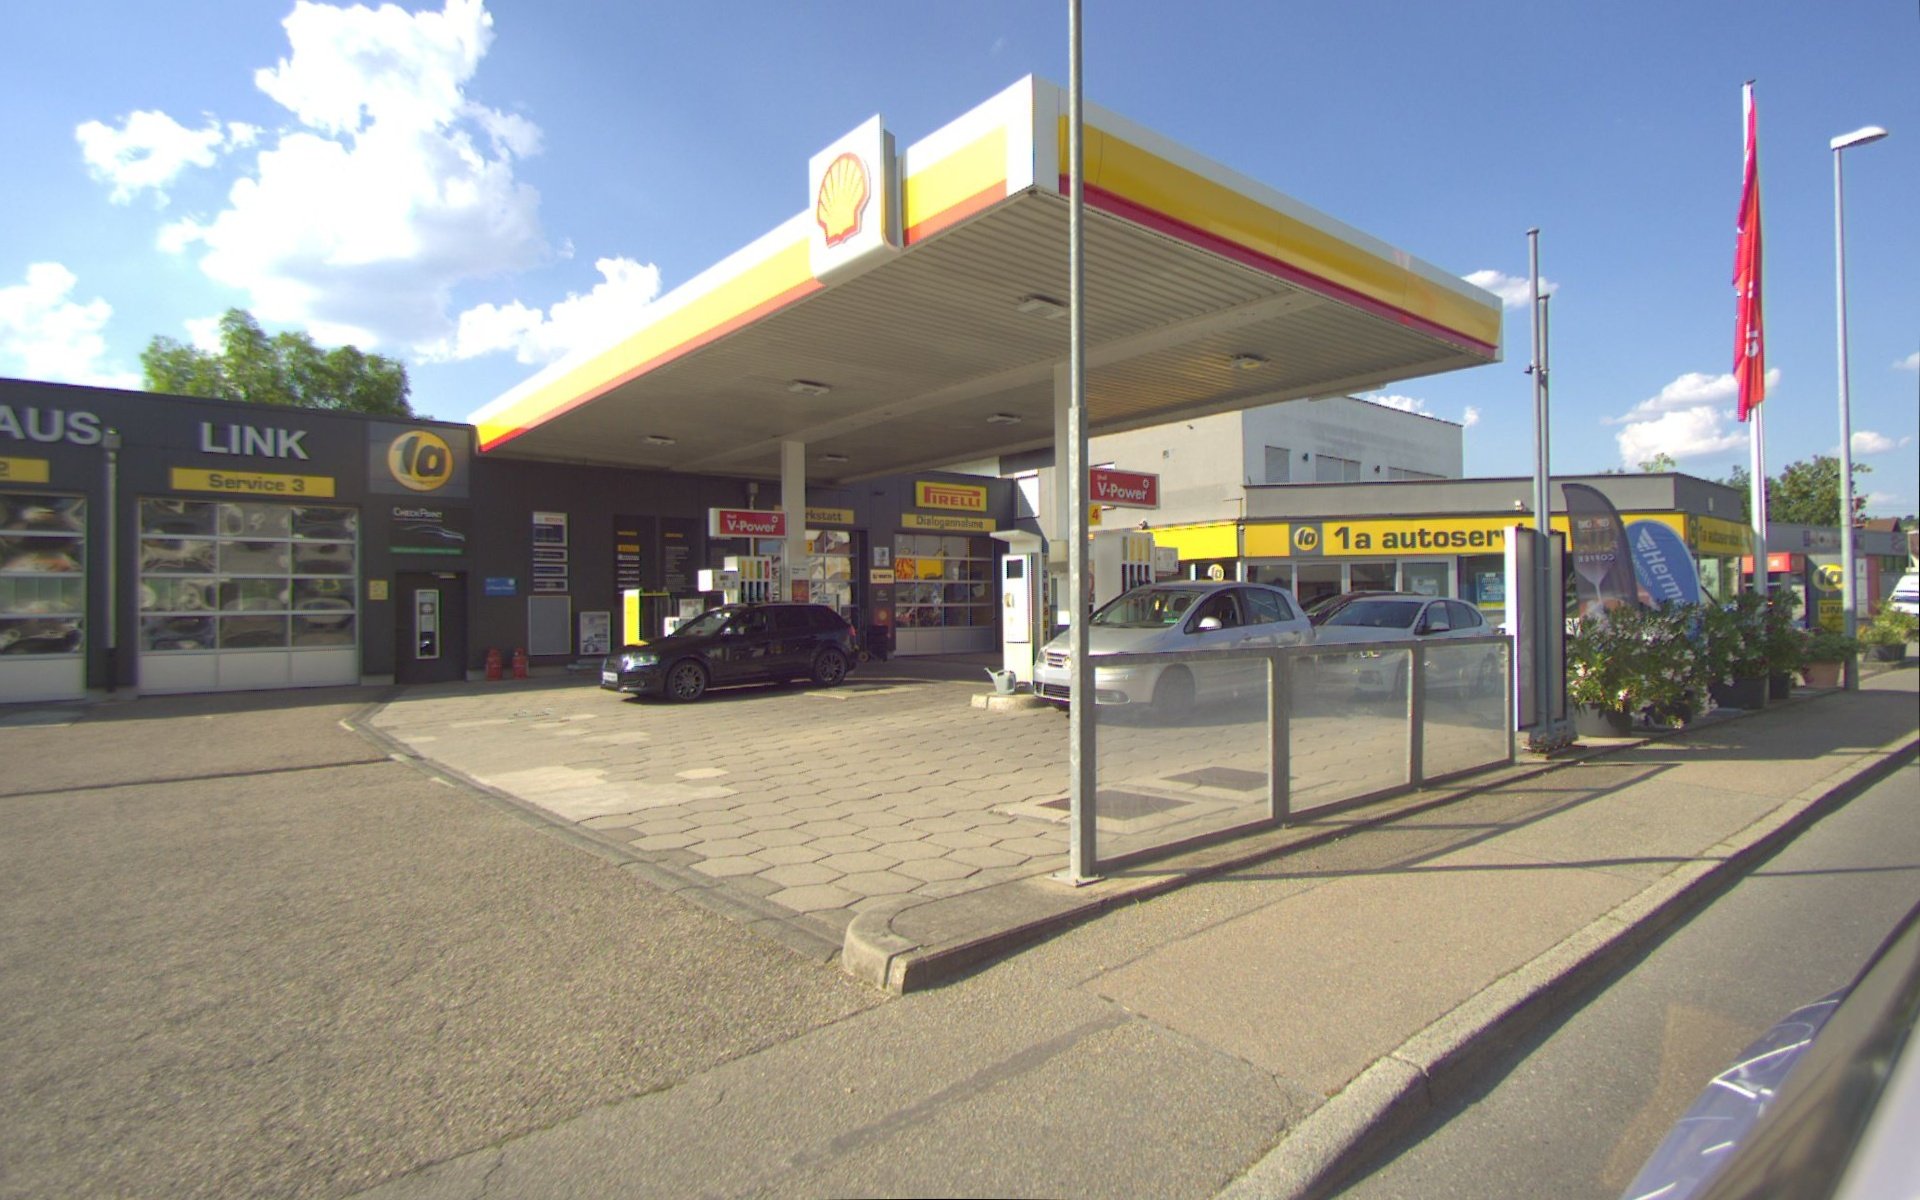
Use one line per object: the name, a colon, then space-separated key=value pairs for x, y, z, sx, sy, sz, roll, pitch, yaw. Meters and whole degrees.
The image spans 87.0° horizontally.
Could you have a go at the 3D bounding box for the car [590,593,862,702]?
car: x=-3.630 y=0.657 z=16.093 sx=3.928 sy=1.418 sz=1.540 roll=-2 pitch=1 yaw=-40

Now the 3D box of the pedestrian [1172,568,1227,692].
pedestrian: x=3.338 y=0.408 z=14.118 sx=0.525 sy=1.691 sz=0.501 roll=0 pitch=-1 yaw=-39

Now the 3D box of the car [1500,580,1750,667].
car: x=13.884 y=0.448 z=21.346 sx=4.010 sy=1.695 sz=1.673 roll=1 pitch=1 yaw=9

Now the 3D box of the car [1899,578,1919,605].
car: x=60.164 y=-0.554 z=61.797 sx=1.652 sy=1.623 sz=3.948 roll=-2 pitch=1 yaw=-38

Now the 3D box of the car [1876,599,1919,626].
car: x=55.099 y=0.725 z=57.687 sx=1.595 sy=1.434 sz=4.077 roll=-1 pitch=2 yaw=-36

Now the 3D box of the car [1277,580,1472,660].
car: x=8.966 y=0.410 z=22.144 sx=3.626 sy=1.653 sz=1.673 roll=0 pitch=1 yaw=9

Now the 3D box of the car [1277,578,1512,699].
car: x=6.641 y=0.507 z=15.291 sx=3.927 sy=1.597 sz=1.675 roll=0 pitch=0 yaw=-40

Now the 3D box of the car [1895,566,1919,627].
car: x=39.711 y=-0.154 z=41.333 sx=5.091 sy=2.405 sz=1.838 roll=-1 pitch=0 yaw=-43

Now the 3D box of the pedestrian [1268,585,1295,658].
pedestrian: x=6.747 y=0.443 z=21.274 sx=0.424 sy=1.498 sz=0.624 roll=-1 pitch=-1 yaw=8

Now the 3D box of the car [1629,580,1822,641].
car: x=20.989 y=0.273 z=27.902 sx=1.499 sy=1.551 sz=3.997 roll=0 pitch=0 yaw=-38

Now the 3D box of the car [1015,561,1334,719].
car: x=2.656 y=0.405 z=12.101 sx=3.927 sy=1.597 sz=1.675 roll=0 pitch=0 yaw=-40
